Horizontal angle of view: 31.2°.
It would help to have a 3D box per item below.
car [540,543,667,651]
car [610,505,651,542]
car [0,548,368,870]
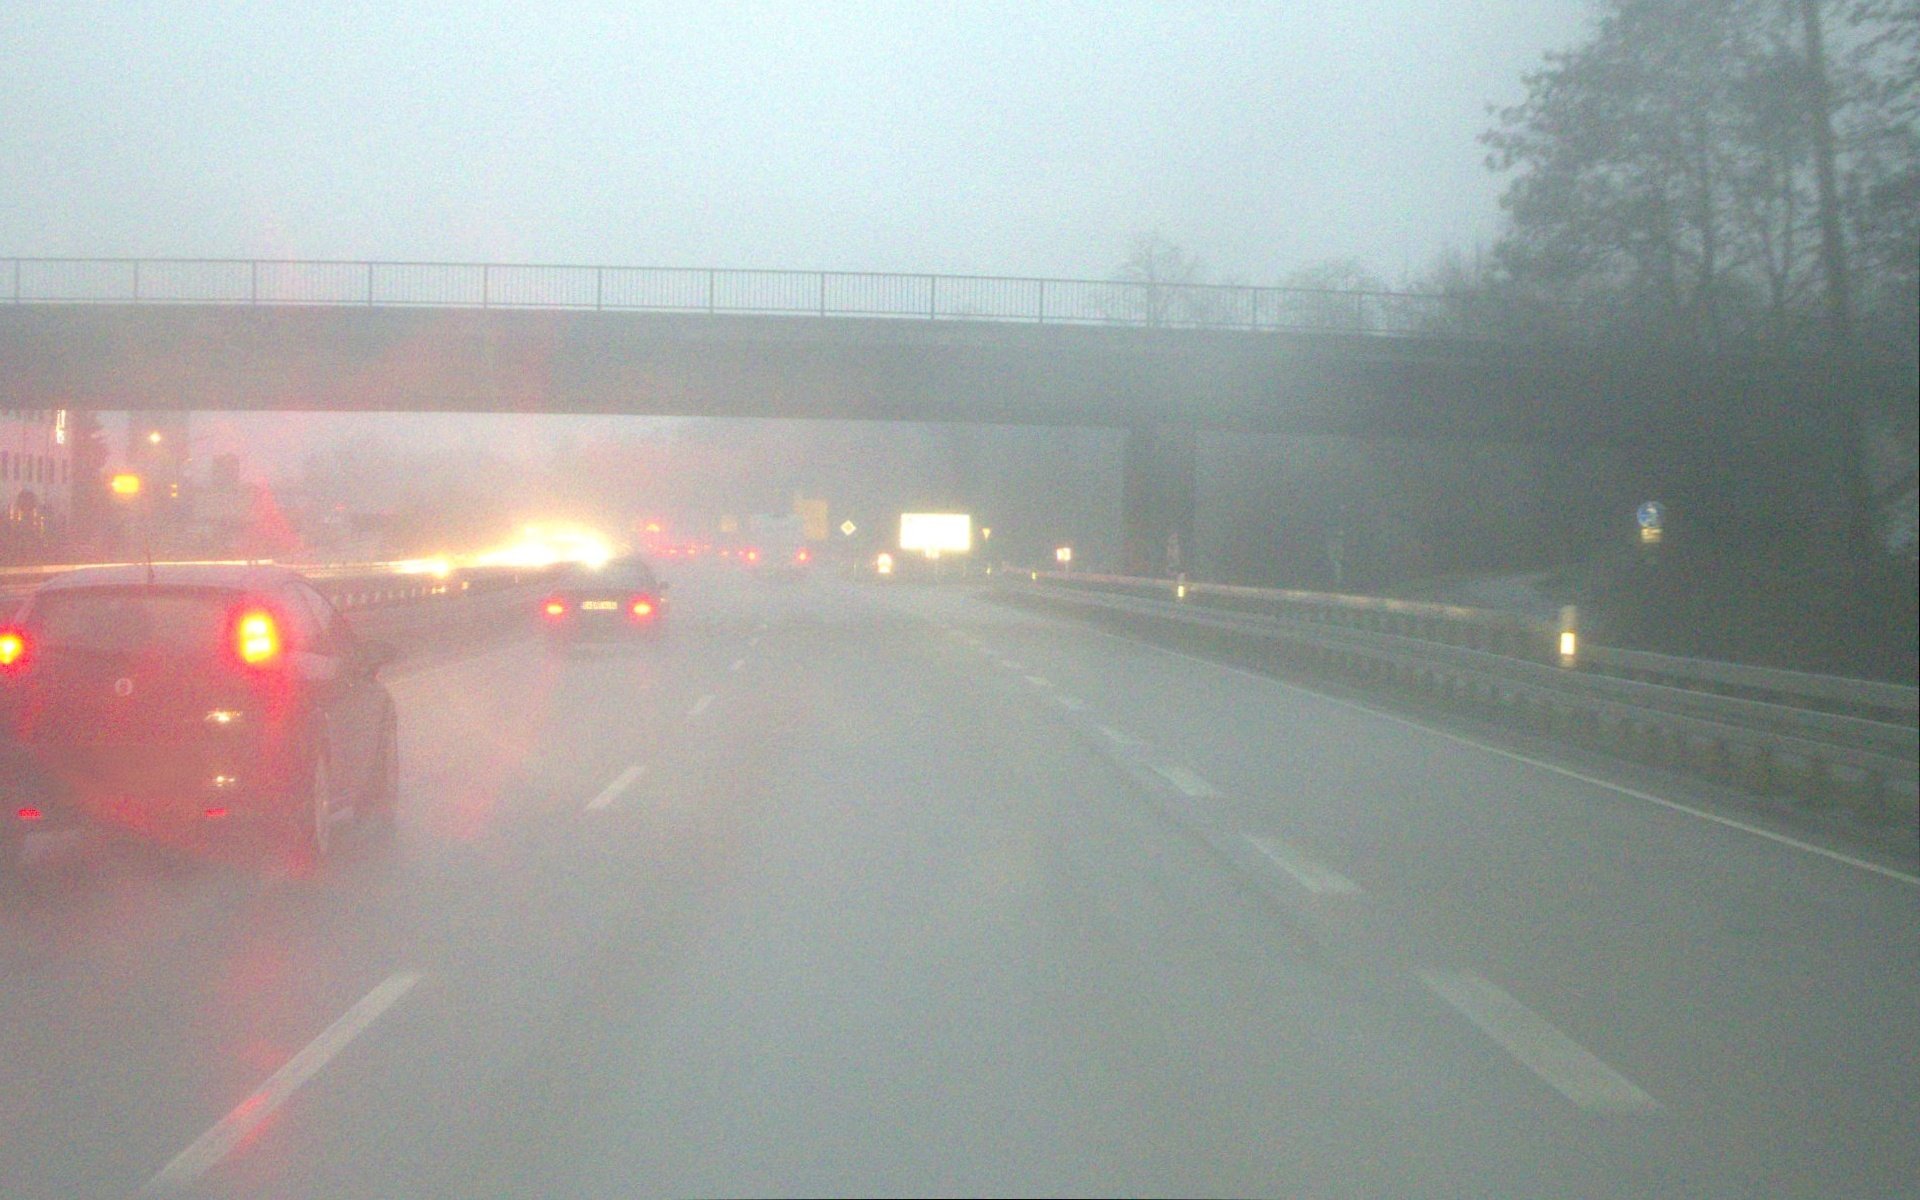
[{"bbox_3d":[-5.311,-0.080,51.637,1.775,1.529,4.703,-1,1,-5],"label":"car"},{"bbox_3d":[-20.122,-4.657,209.698,2.122,2.113,3.576,3,1,-10],"label":"car"},{"bbox_3d":[-4.083,0.492,17.955,1.527,1.411,3.479,3,1,-4],"label":"car"}]
